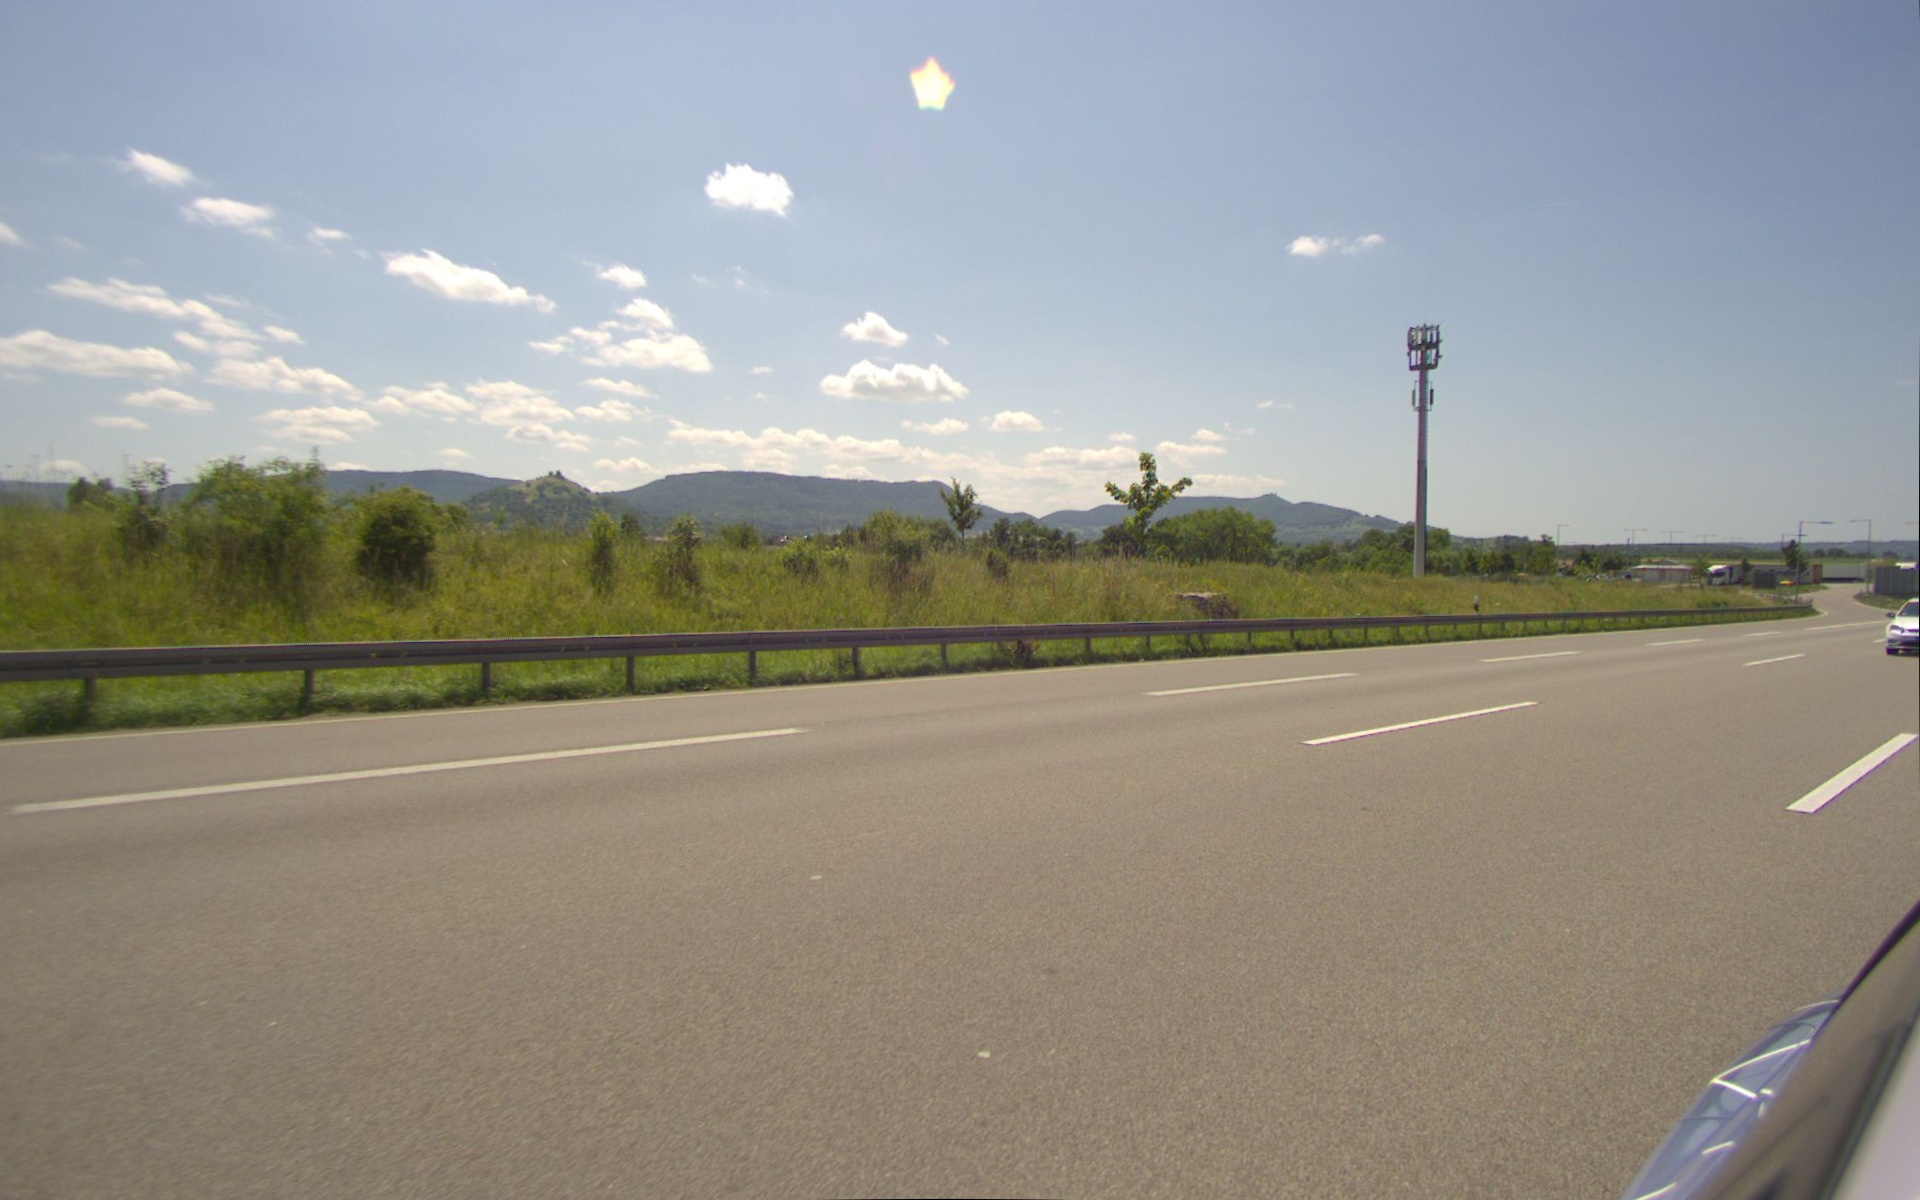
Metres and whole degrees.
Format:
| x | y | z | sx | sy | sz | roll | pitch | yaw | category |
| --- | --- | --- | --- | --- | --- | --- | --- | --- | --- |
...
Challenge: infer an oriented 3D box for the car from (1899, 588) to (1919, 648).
| x | y | z | sx | sy | sz | roll | pitch | yaw | category |
| --- | --- | --- | --- | --- | --- | --- | --- | --- | --- |
| 25.610 | 0.437 | 25.970 | 4.610 | 1.451 | 1.779 | -1 | 1 | -41 | car |
